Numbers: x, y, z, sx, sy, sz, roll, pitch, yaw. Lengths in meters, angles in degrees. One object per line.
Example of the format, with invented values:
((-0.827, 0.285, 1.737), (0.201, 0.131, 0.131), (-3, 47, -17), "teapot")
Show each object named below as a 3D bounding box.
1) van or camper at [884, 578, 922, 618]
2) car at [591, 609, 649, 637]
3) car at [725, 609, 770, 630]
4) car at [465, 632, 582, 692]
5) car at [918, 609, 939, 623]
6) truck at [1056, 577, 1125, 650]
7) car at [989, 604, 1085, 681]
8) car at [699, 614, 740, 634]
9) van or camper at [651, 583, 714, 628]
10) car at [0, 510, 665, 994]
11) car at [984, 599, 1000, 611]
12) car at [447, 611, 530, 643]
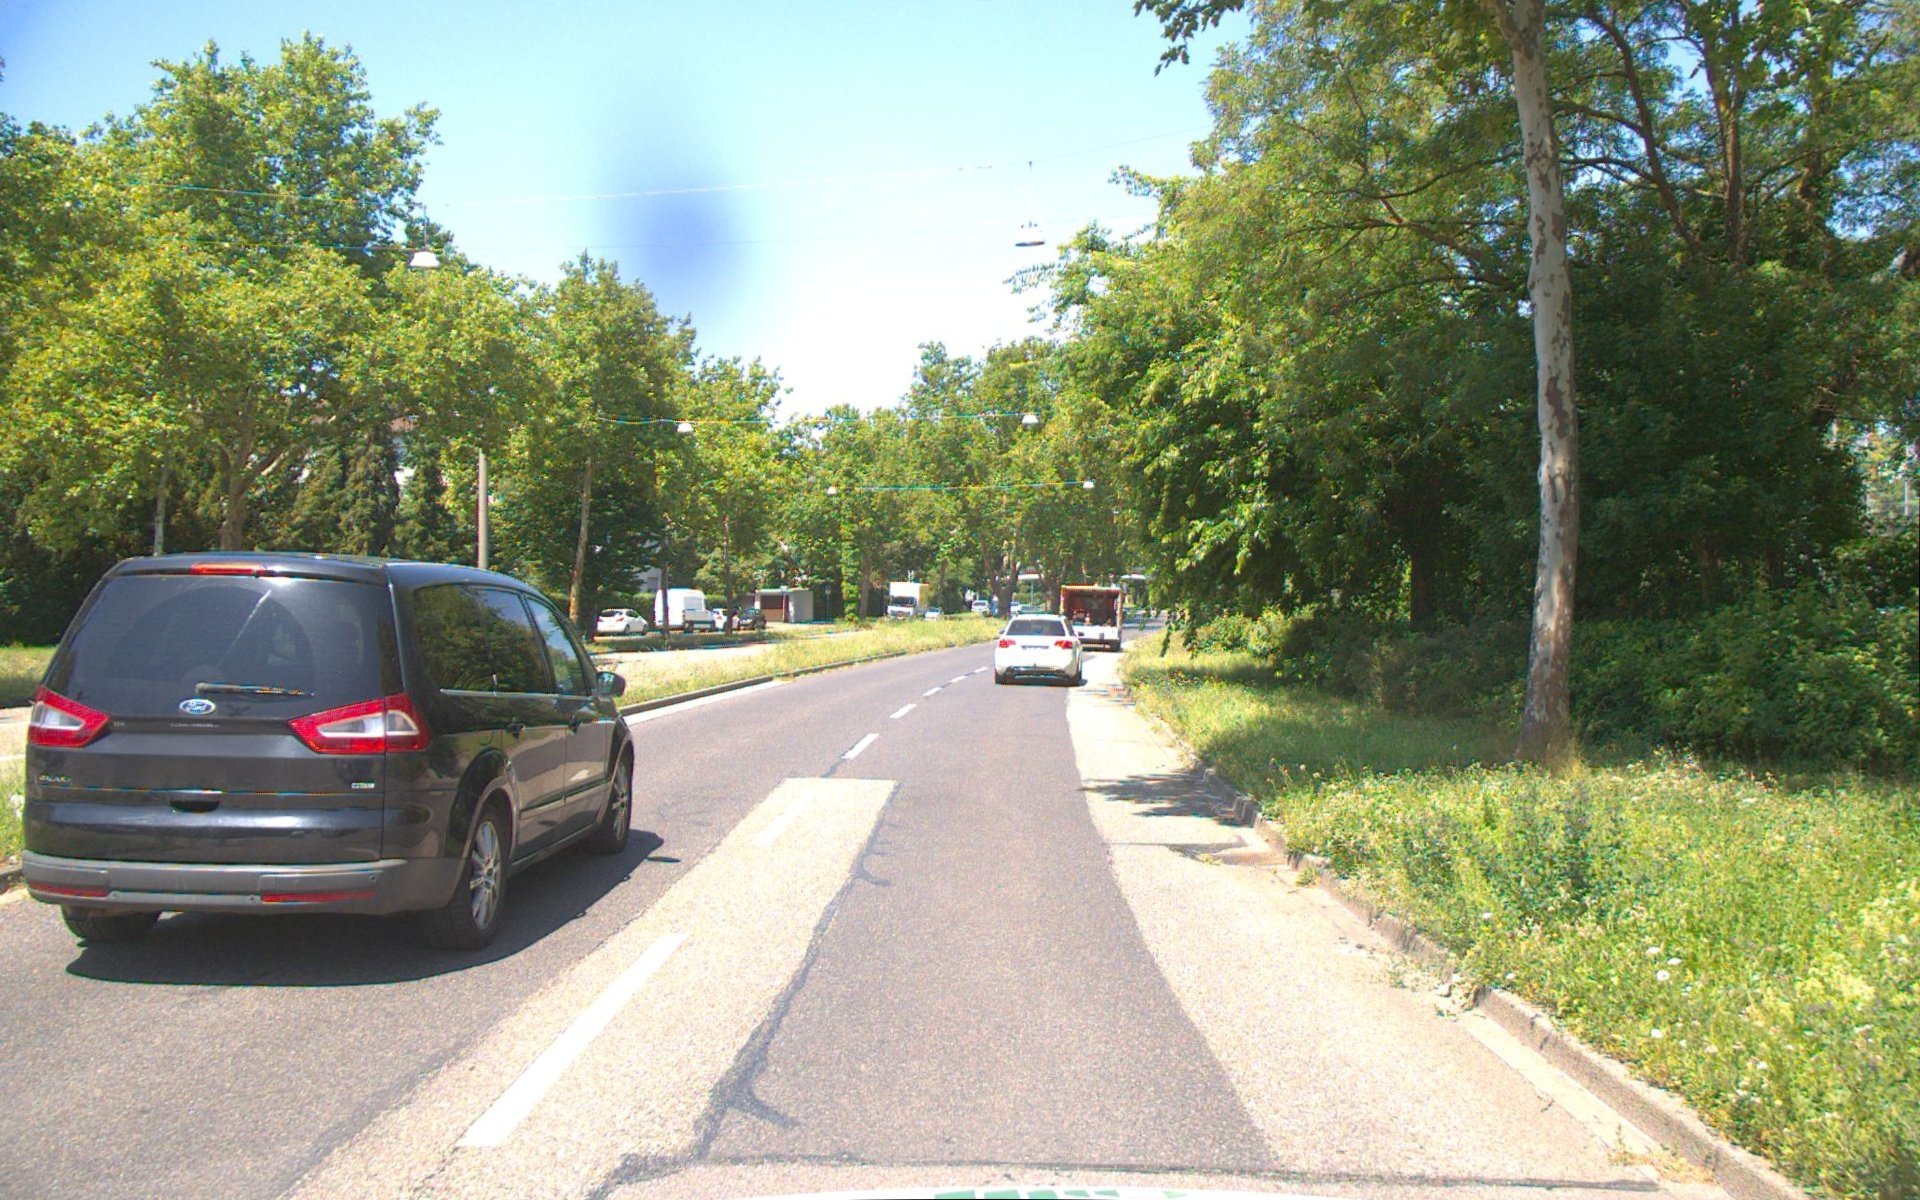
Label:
((-4.842, -0.155, 141.220), (2.605, 3.389, 5.503), (0, 0, 4), "van or camper")
((-18.908, 1.244, 92.139), (1.841, 1.500, 4.003), (0, 0, 9), "car")
((-14.578, 1.314, 113.485), (1.789, 1.415, 3.950), (0, 0, 13), "car")
((-12.446, 1.742, 47.406), (1.774, 1.533, 4.596), (0, 0, 5), "car")
((-2.961, 1.486, 156.087), (1.875, 1.231, 4.335), (-1, 0, 0), "car")
((5.087, 0.459, 64.705), (2.458, 2.604, 7.608), (2, 1, 4), "truck")
((1.665, 0.851, 34.705), (1.725, 1.470, 3.618), (2, 0, 7), "car")
((-15.636, 1.554, 107.668), (1.657, 1.306, 3.806), (0, 0, 9), "car")
((-16.959, 0.331, 101.282), (2.136, 2.633, 5.313), (0, 0, 10), "van or camper")
((-2.850, 0.572, 8.479), (1.816, 1.786, 4.648), (1, 0, 0), "car")
((3.659, 0.608, 191.339), (1.735, 1.355, 3.660), (0, 0, 0), "car")
((-21.829, 1.240, 76.685), (1.842, 1.417, 4.002), (0, 0, 16), "car")
